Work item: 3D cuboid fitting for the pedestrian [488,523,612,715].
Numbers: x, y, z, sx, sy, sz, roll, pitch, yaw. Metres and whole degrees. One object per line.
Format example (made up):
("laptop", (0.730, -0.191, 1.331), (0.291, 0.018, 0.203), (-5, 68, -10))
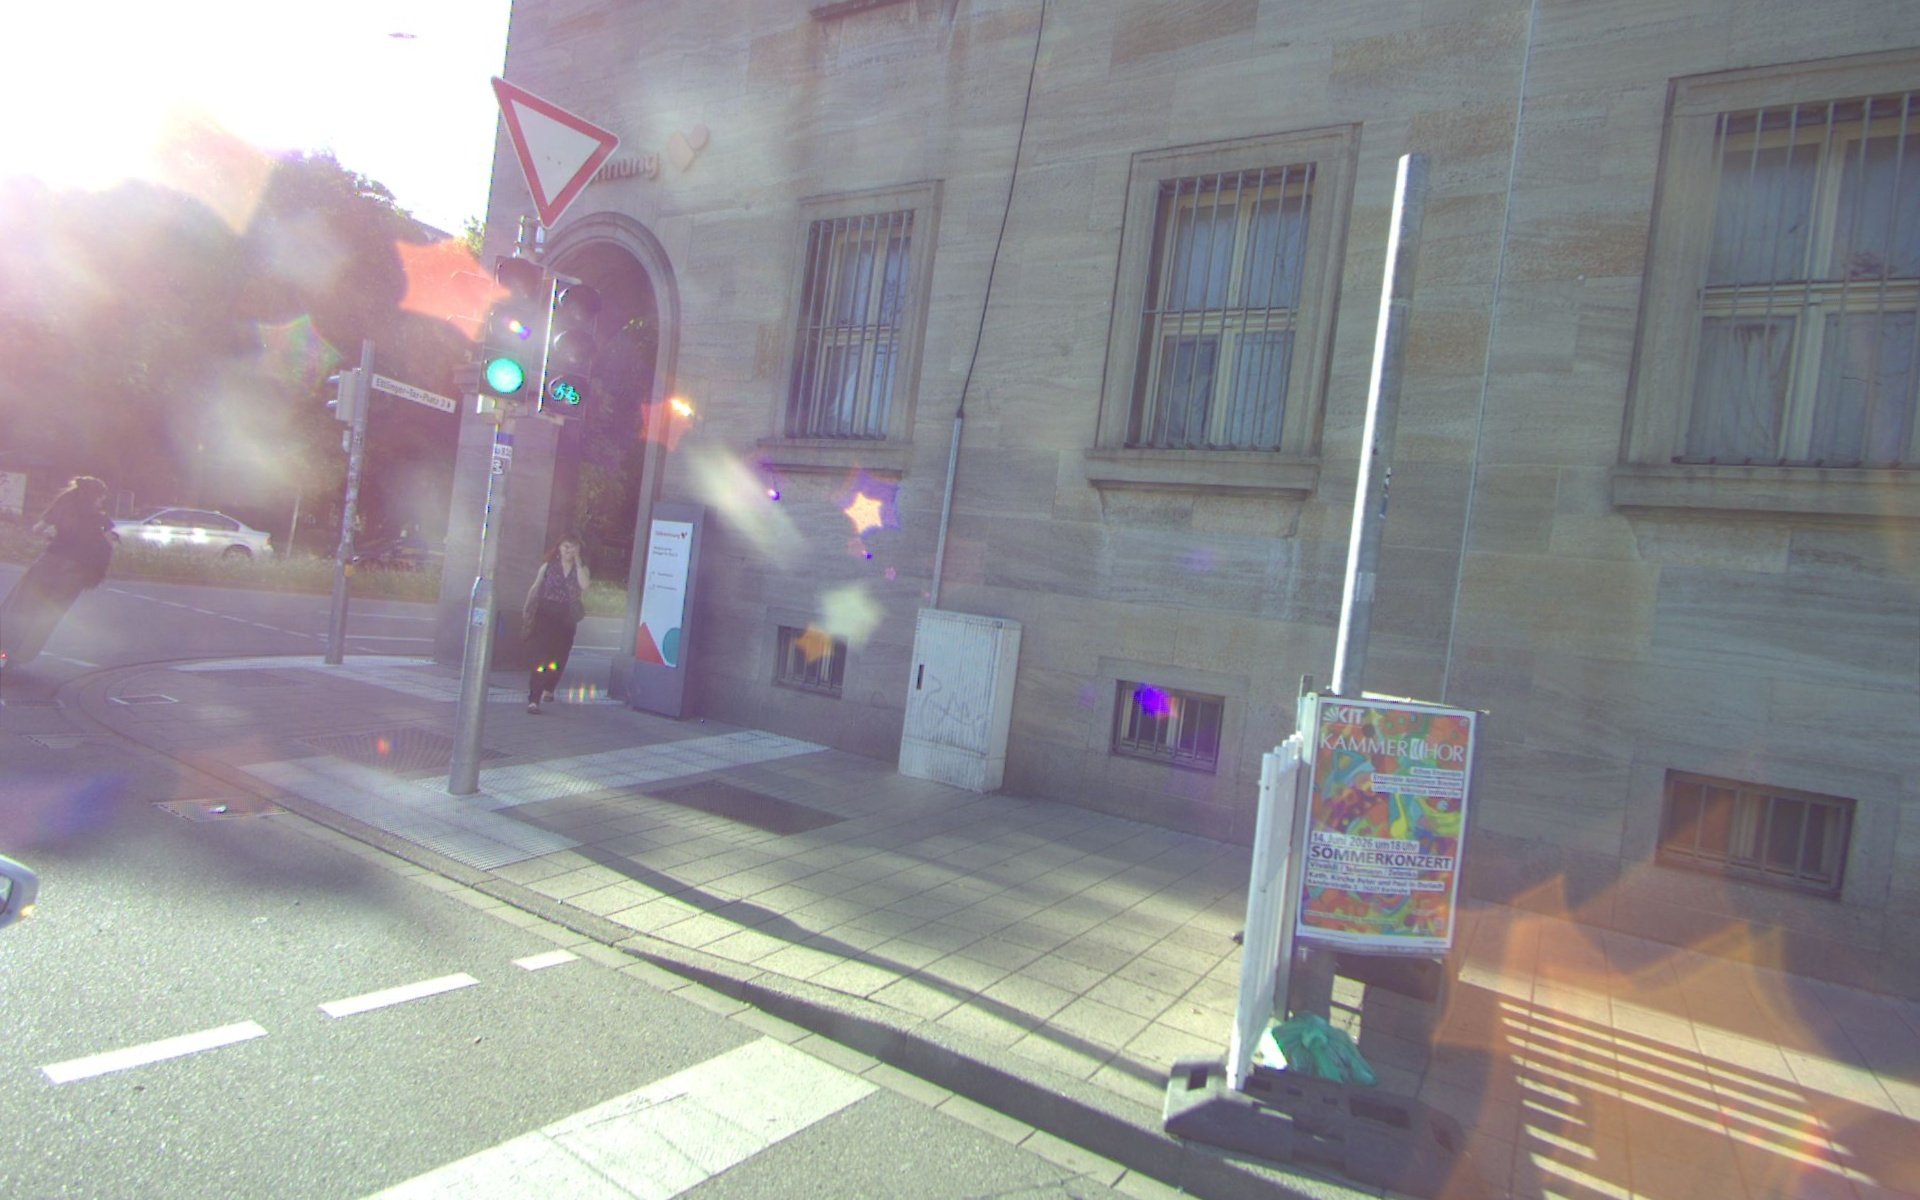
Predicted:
("pedestrian", (-3.746, 0.162, 9.193), (0.799, 1.629, 0.596), (8, 4, 31))

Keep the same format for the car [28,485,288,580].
("car", (-19.865, -1.622, 25.143), (1.967, 1.533, 4.586), (7, -2, 32))

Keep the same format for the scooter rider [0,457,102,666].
("scooter rider", (-7.402, -0.304, 8.150), (0.543, 1.581, 0.570), (7, 0, -42))

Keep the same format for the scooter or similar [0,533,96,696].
("scooter or similar", (-7.353, 0.096, 8.036), (0.571, 1.164, 1.256), (5, 1, -43))

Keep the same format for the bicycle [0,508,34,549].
("bicycle", (-23.699, -1.828, 24.187), (0.707, 0.900, 1.944), (7, -2, 38))

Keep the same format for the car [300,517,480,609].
("car", (-16.672, -1.047, 29.596), (1.968, 2.037, 3.994), (7, -2, 33))
